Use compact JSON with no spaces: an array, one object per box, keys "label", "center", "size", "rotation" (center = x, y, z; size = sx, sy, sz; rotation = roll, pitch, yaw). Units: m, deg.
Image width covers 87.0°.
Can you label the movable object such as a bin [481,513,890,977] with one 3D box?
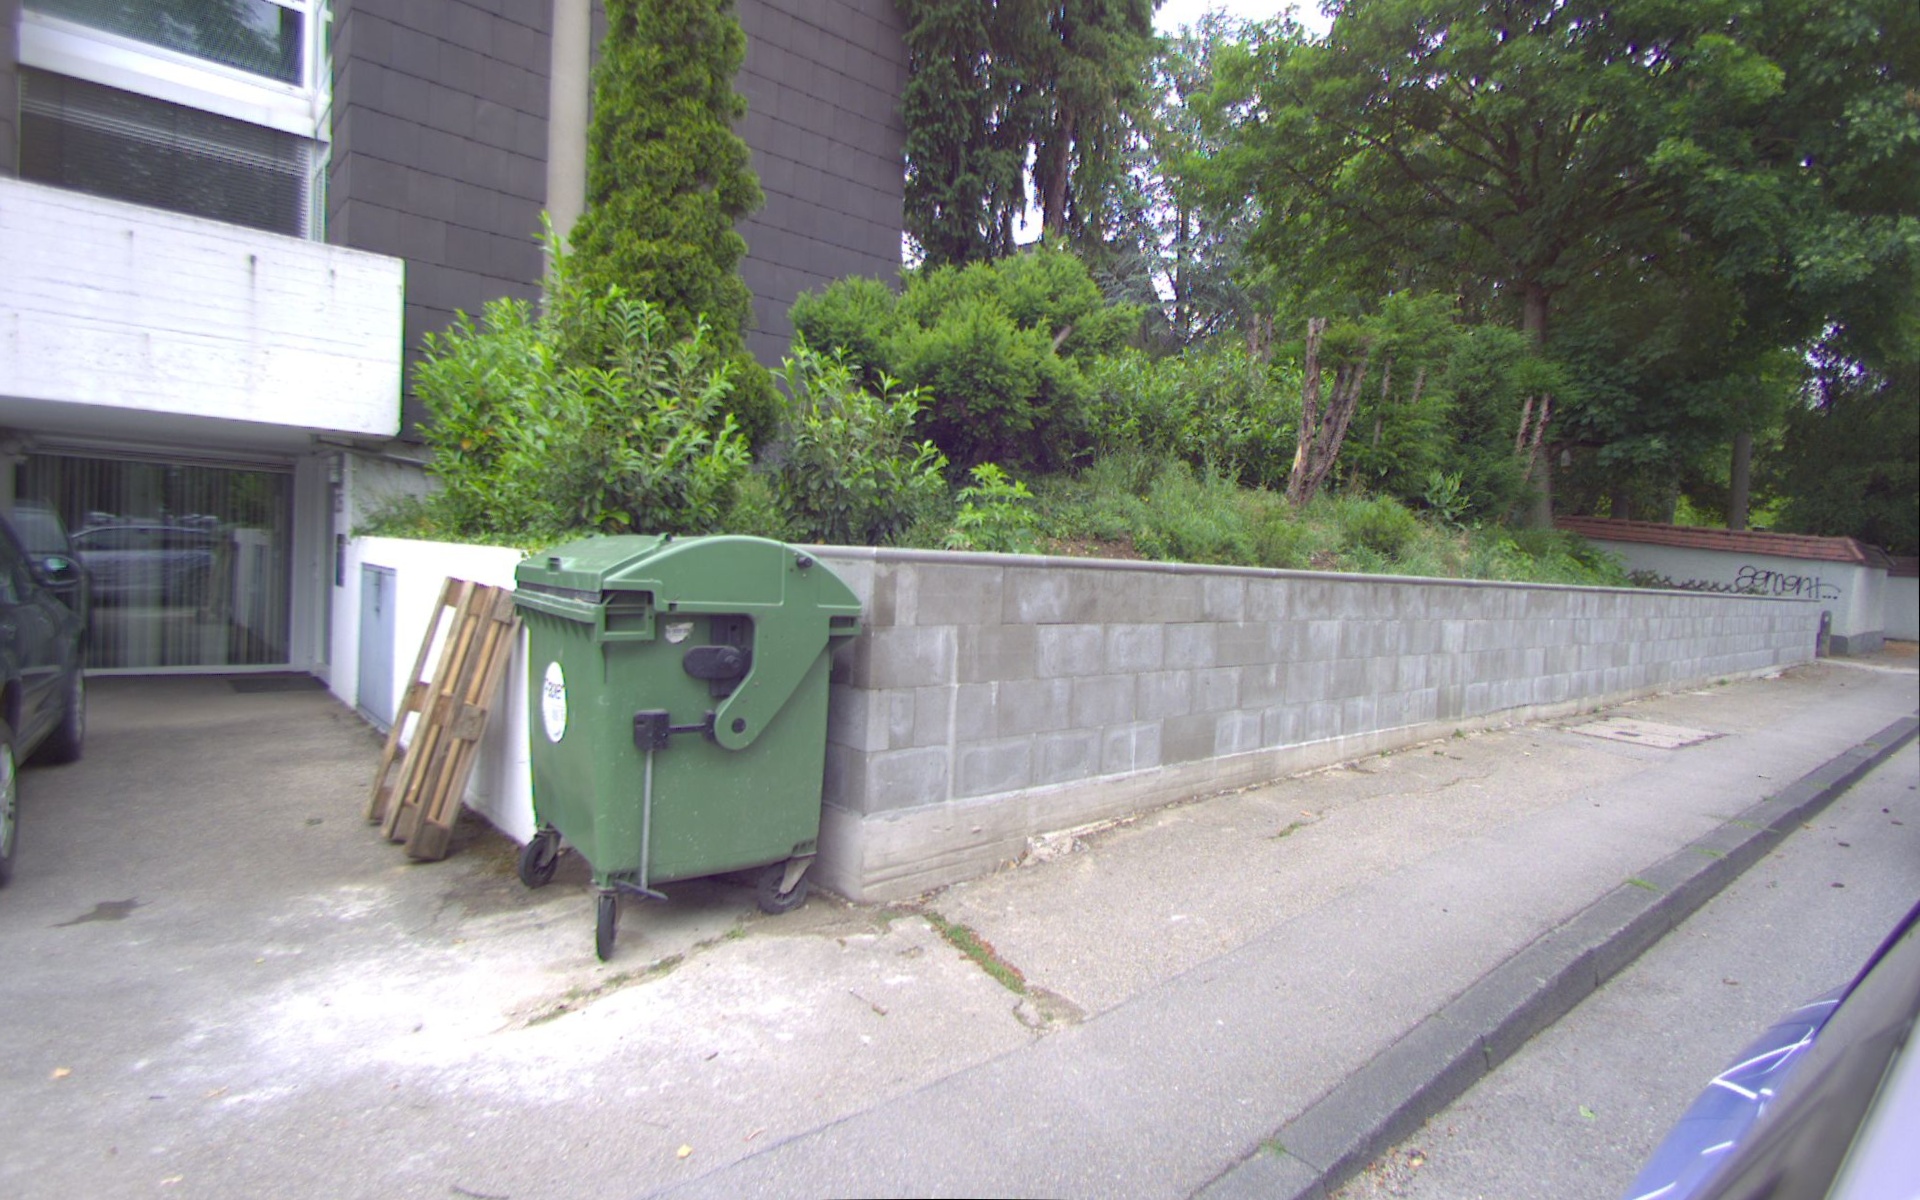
[{"label":"movable object such as a bin","center":[-1.150,0.420,4.087],"size":[1.096,1.469,1.407],"rotation":[0,3,-40]}]

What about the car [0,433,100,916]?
[{"label":"car","center":[-5.015,0.154,4.361],"size":[1.712,1.671,3.914],"rotation":[0,4,-36]}]
